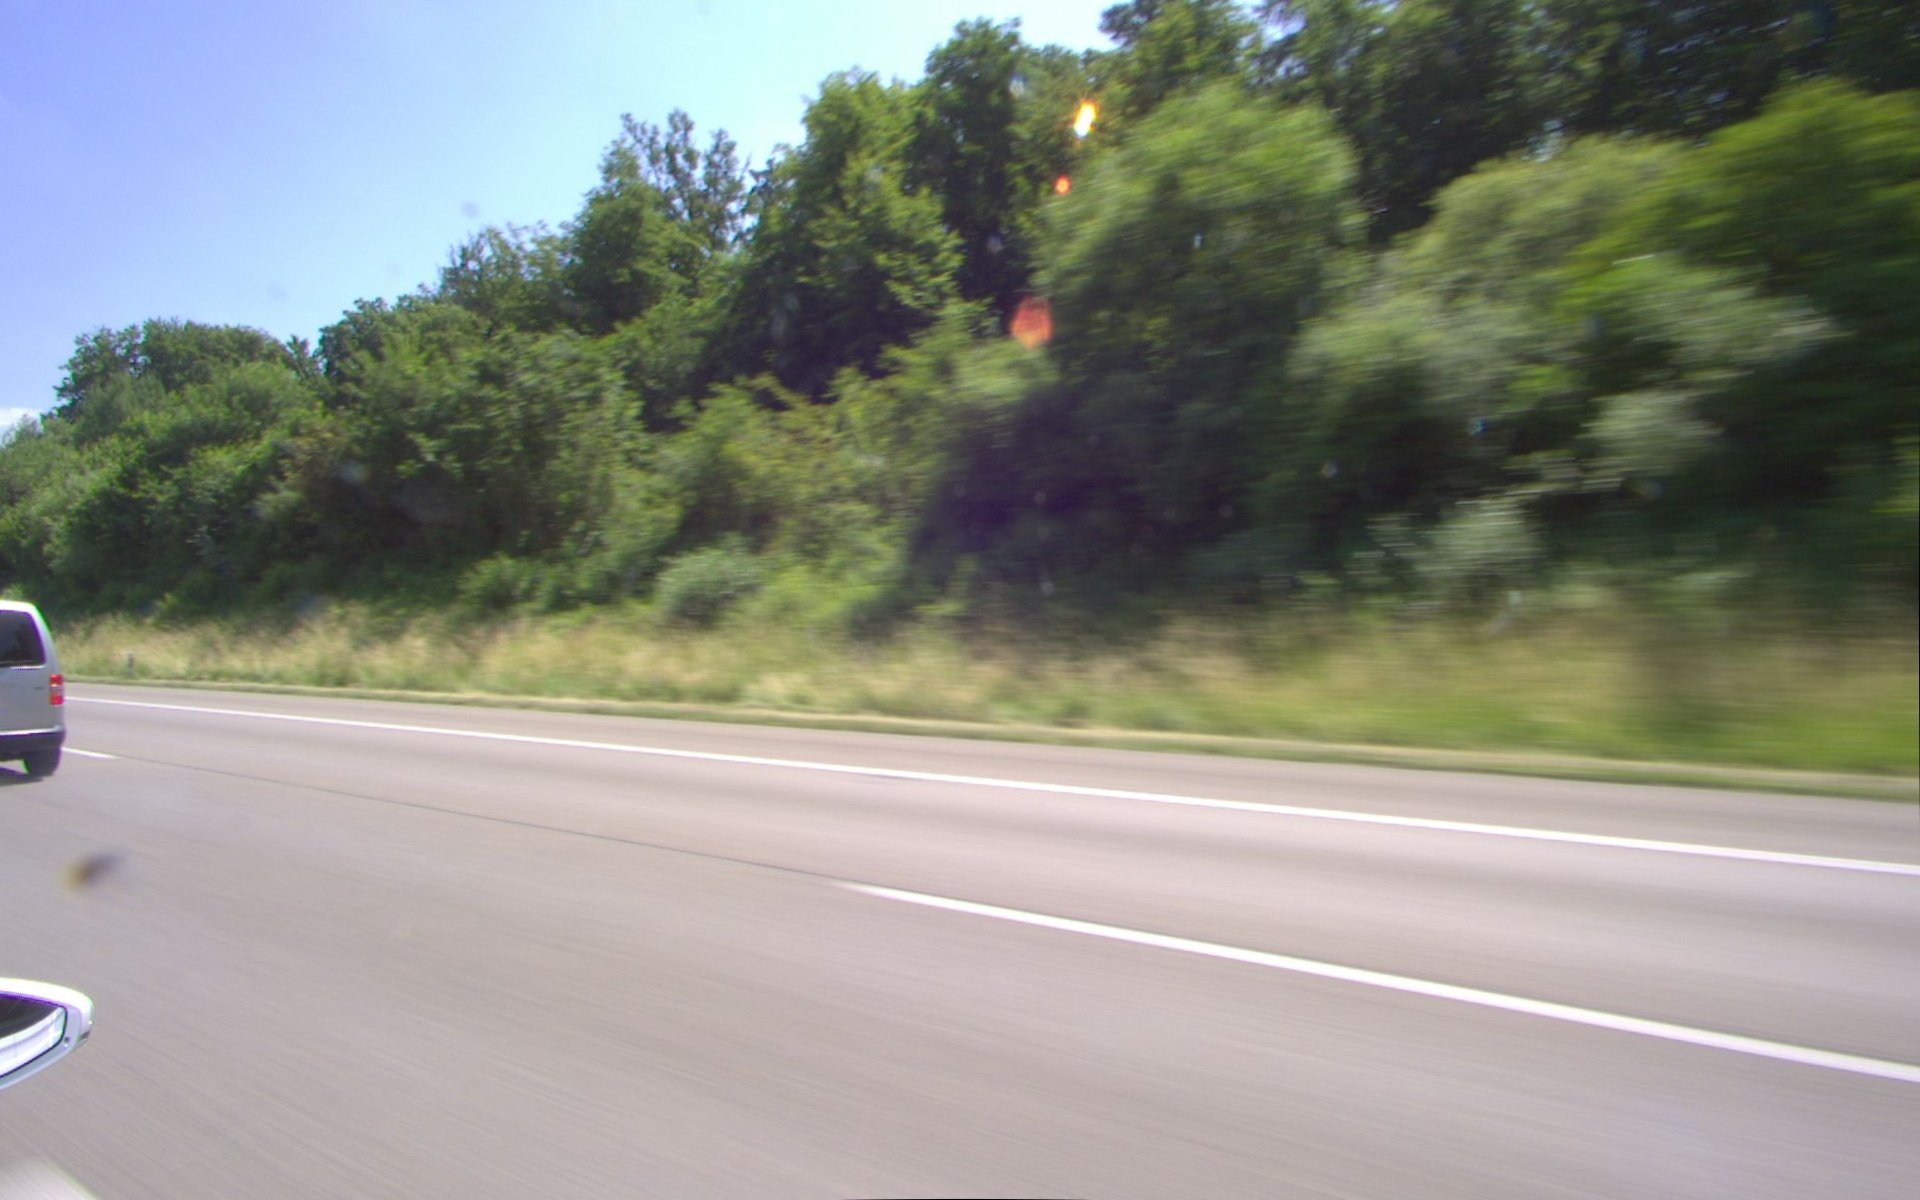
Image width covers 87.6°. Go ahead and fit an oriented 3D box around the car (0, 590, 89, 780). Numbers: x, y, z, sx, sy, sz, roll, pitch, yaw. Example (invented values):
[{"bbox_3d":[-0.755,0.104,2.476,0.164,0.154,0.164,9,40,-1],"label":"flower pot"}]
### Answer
[{"bbox_3d":[-11.474,0.837,10.906,4.733,1.853,1.743,0,-2,33],"label":"car"}]
